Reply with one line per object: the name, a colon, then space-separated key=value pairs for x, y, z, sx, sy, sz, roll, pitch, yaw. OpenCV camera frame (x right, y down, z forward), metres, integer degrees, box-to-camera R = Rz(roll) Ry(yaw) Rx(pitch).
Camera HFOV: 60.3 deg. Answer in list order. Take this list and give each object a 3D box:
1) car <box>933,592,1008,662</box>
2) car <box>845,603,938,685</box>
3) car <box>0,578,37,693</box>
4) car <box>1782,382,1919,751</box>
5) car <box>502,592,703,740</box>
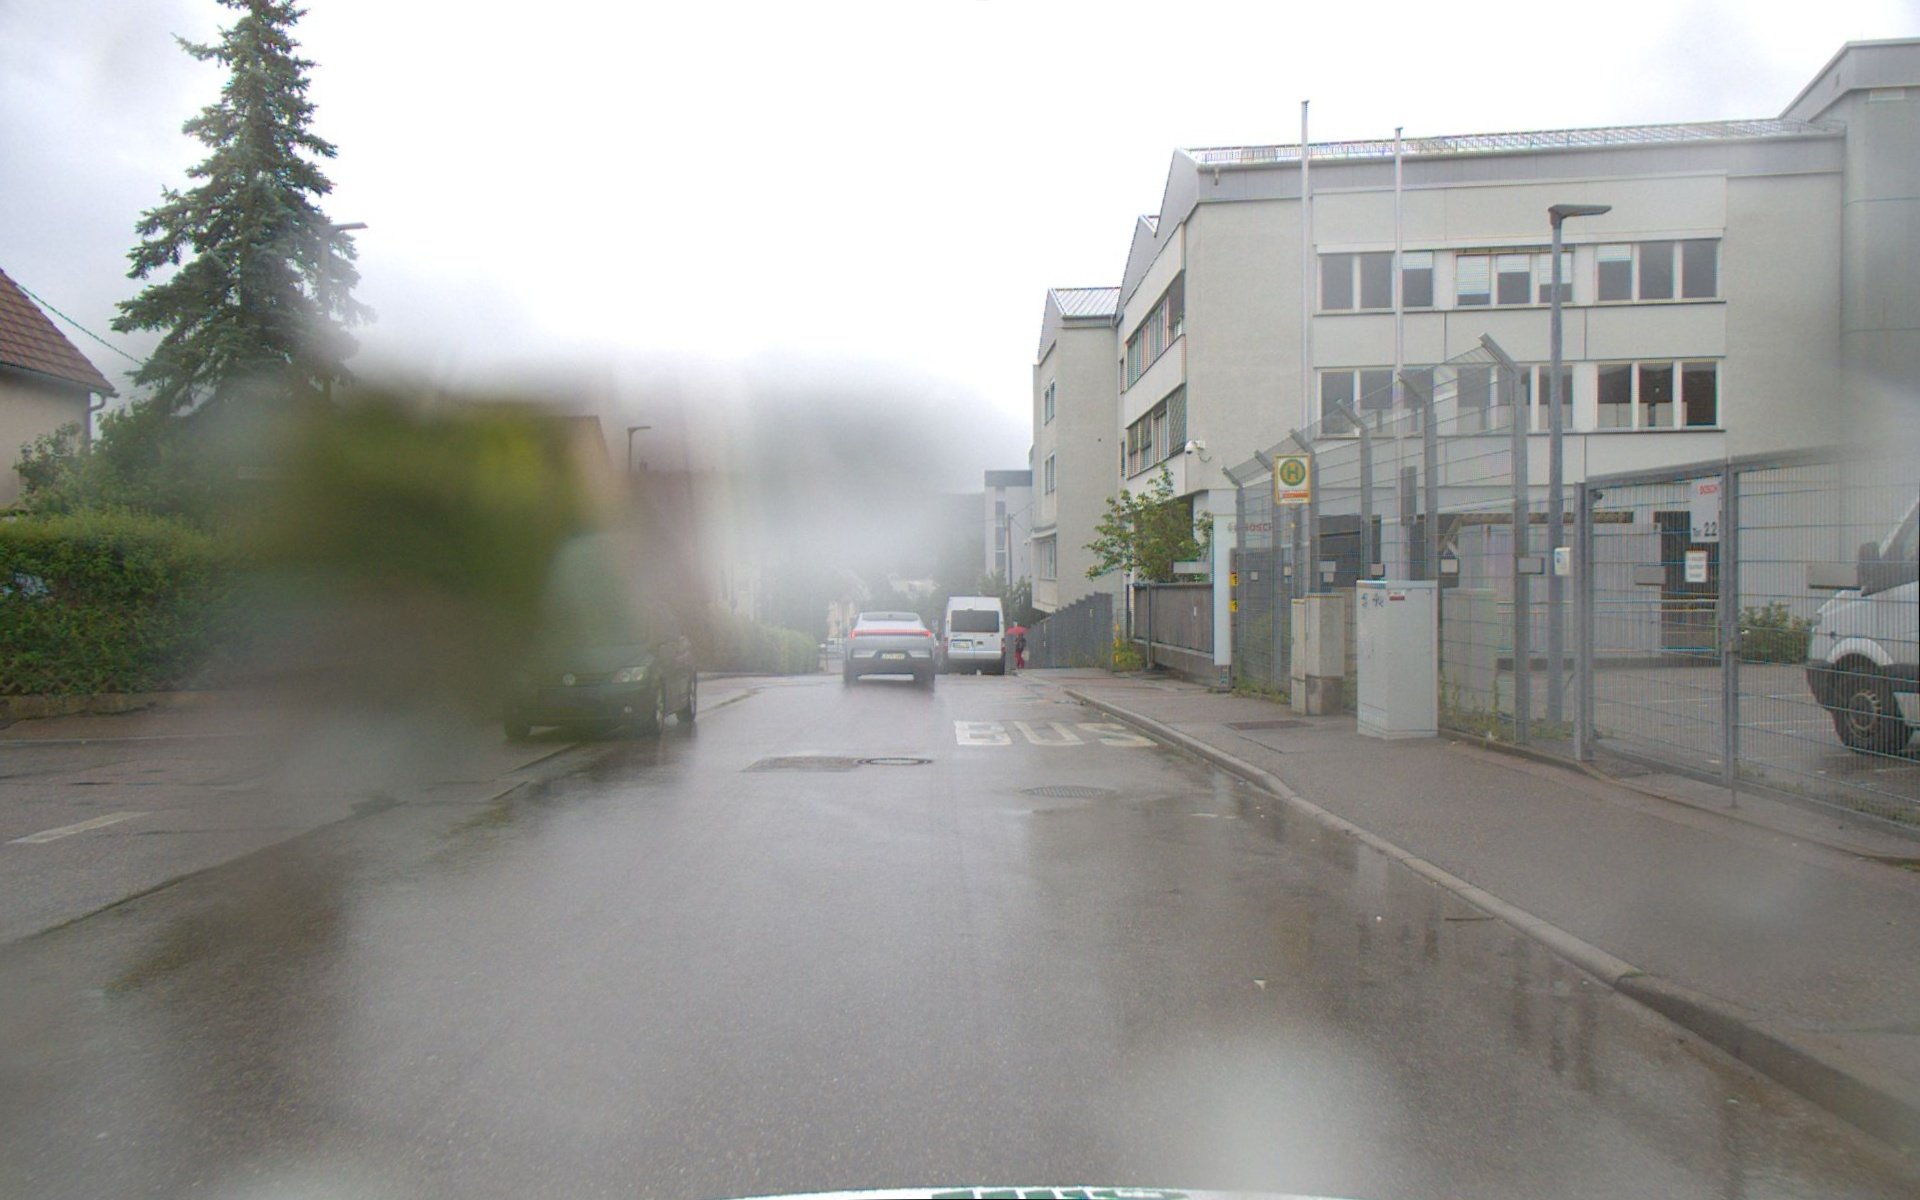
car: x=0.278 y=0.864 z=51.279 sx=1.955 sy=2.049 sz=3.995 roll=-1 pitch=-2 yaw=-5
car: x=-1.541 y=0.930 z=37.079 sx=1.954 sy=1.528 sz=4.668 roll=0 pitch=2 yaw=-3
car: x=-13.803 y=0.534 z=21.182 sx=1.758 sy=1.534 sz=4.000 roll=-1 pitch=2 yaw=-1
car: x=8.267 y=-0.245 z=11.008 sx=1.956 sy=2.731 sz=5.942 roll=-2 pitch=2 yaw=-8
car: x=-4.109 y=0.691 z=19.593 sx=1.642 sy=1.554 sz=3.998 roll=-1 pitch=0 yaw=-2
